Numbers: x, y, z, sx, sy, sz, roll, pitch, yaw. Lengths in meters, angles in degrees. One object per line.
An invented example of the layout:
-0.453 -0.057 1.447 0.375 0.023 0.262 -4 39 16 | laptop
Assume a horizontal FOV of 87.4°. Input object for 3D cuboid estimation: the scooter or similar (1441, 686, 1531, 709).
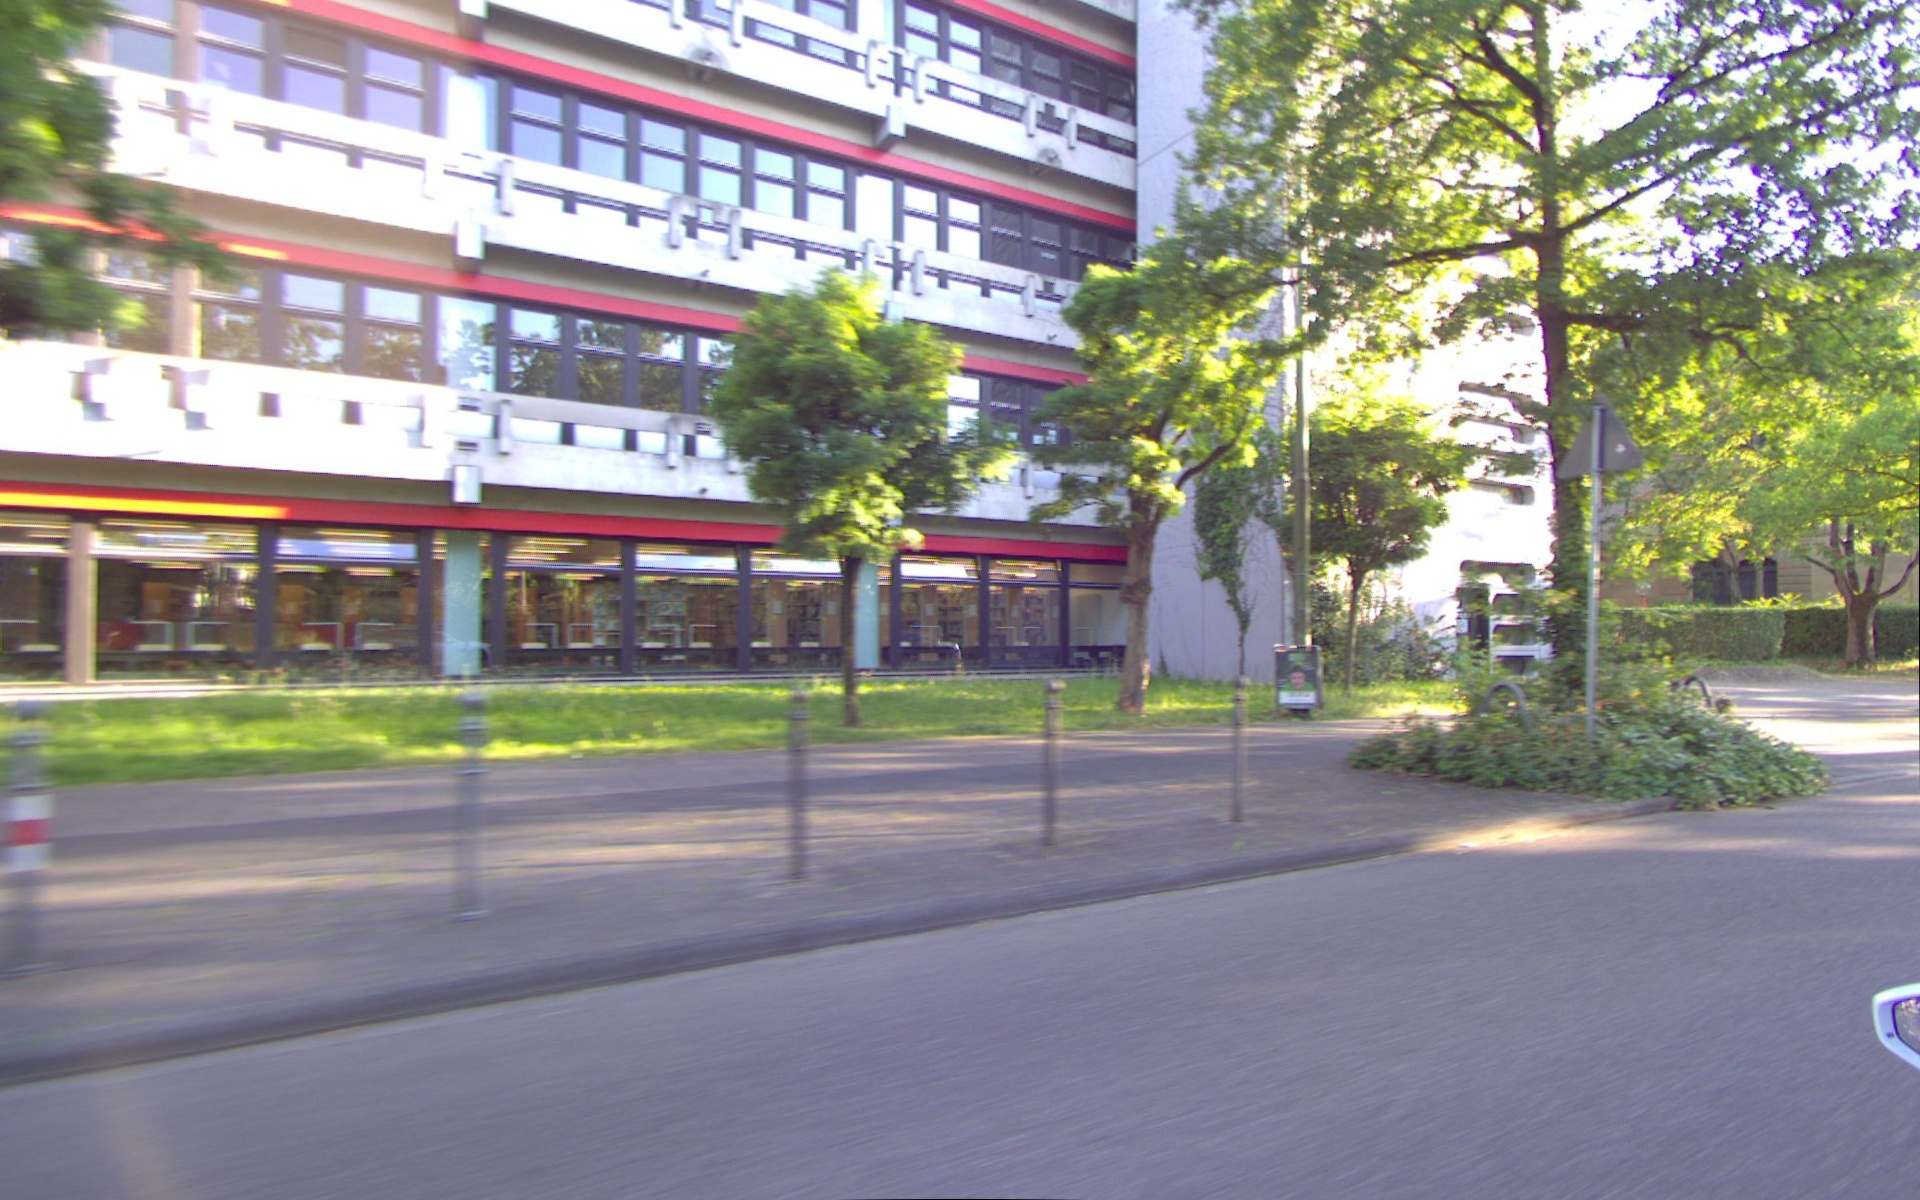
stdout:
9.587 1.769 18.290 1.149 0.280 1.243 0 -1 45 | scooter or similar
